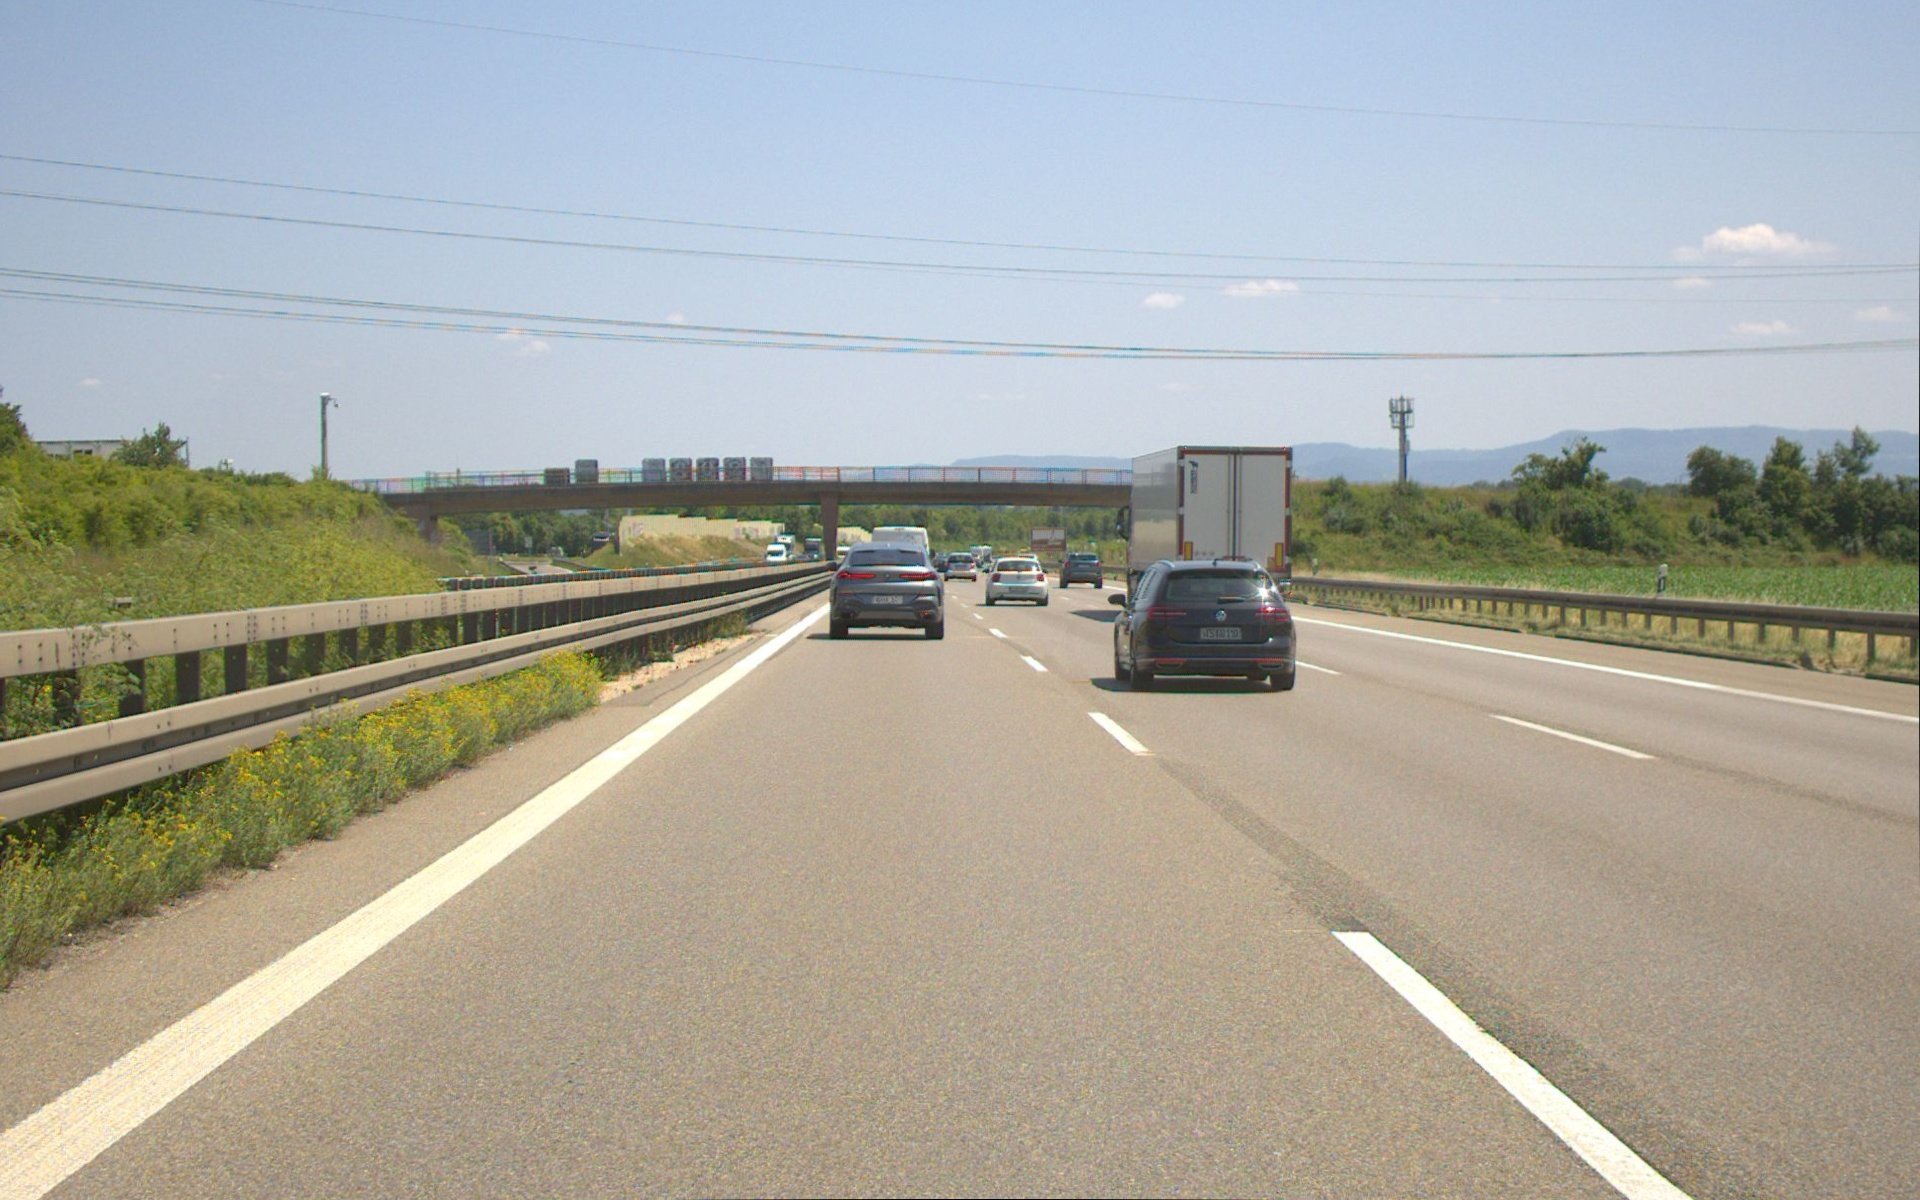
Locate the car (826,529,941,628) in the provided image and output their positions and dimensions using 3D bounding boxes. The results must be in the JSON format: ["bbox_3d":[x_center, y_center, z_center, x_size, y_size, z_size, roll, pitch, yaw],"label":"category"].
[{"bbox_3d":[-1.373,-0.394,60.431,1.851,1.658,3.735,1,1,-4],"label":"car"}]

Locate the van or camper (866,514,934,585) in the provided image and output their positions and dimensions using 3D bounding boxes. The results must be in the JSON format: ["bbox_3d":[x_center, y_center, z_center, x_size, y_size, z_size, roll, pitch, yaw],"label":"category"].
[{"bbox_3d":[-1.941,-1.642,111.960,2.110,2.204,5.266,1,1,-1],"label":"van or camper"}]

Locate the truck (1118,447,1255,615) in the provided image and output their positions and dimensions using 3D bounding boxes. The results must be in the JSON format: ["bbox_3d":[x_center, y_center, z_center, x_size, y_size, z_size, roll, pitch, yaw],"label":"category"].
[{"bbox_3d":[5.922,-1.801,91.065,2.979,4.213,7.688,1,1,-1],"label":"truck"}]

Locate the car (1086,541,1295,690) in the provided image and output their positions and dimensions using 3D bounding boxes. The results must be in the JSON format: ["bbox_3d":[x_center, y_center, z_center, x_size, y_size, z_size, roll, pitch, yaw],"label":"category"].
[{"bbox_3d":[2.558,0.130,39.274,1.933,1.569,4.935,1,1,-1],"label":"car"}]

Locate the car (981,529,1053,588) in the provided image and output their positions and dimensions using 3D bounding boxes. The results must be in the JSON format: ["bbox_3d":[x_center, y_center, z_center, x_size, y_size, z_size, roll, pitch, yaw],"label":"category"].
[{"bbox_3d":[1.657,-1.226,101.618,1.993,1.677,4.000,1,1,-1],"label":"car"}]

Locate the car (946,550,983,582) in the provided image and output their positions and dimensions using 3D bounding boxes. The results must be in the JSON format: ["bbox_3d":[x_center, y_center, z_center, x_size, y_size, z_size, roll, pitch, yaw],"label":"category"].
[{"bbox_3d":[0.238,-1.874,189.440,1.993,1.677,4.000,1,1,-1],"label":"car"}]

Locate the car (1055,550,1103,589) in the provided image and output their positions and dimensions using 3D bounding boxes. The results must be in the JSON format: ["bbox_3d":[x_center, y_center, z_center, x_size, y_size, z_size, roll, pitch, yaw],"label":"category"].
[{"bbox_3d":[5.353,-1.390,154.957,1.993,1.677,4.000,1,1,-1],"label":"car"}]

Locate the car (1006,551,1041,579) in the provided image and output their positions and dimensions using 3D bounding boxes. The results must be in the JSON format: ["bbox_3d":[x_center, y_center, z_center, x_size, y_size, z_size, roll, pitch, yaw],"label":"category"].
[{"bbox_3d":[3.907,-2.136,211.343,1.993,1.677,4.000,1,1,-1],"label":"car"}]

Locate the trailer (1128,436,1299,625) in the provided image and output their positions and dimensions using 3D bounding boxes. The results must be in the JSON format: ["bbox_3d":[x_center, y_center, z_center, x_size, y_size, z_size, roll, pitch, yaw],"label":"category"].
[{"bbox_3d":[6.005,-1.653,83.743,2.943,4.184,13.597,1,1,-1],"label":"trailer"}]
